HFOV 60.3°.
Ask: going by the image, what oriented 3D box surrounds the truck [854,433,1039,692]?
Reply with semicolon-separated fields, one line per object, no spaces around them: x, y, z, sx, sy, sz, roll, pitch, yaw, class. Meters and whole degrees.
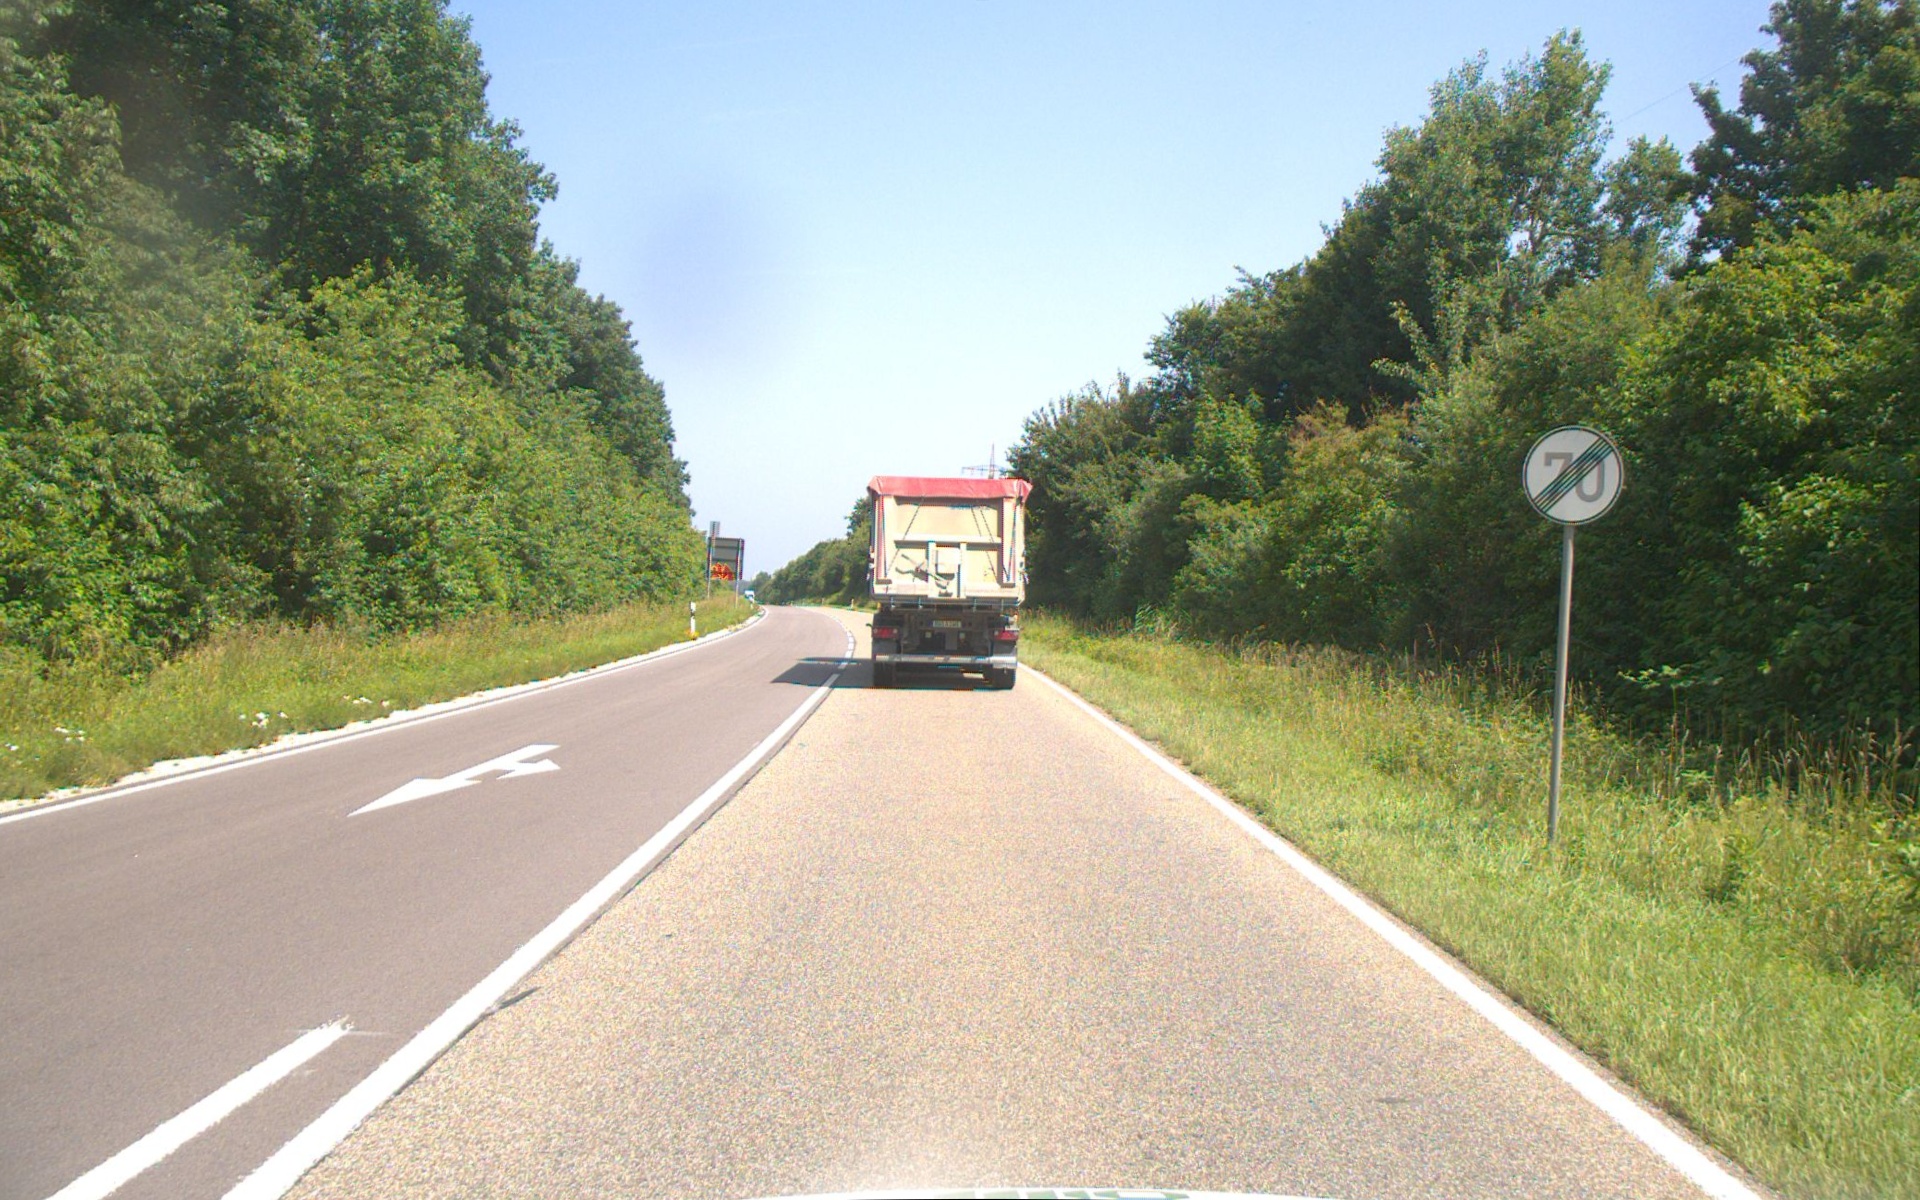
-0.441;-0.612;32.082;2.835;4.031;11.927;1;0;-2;truck
